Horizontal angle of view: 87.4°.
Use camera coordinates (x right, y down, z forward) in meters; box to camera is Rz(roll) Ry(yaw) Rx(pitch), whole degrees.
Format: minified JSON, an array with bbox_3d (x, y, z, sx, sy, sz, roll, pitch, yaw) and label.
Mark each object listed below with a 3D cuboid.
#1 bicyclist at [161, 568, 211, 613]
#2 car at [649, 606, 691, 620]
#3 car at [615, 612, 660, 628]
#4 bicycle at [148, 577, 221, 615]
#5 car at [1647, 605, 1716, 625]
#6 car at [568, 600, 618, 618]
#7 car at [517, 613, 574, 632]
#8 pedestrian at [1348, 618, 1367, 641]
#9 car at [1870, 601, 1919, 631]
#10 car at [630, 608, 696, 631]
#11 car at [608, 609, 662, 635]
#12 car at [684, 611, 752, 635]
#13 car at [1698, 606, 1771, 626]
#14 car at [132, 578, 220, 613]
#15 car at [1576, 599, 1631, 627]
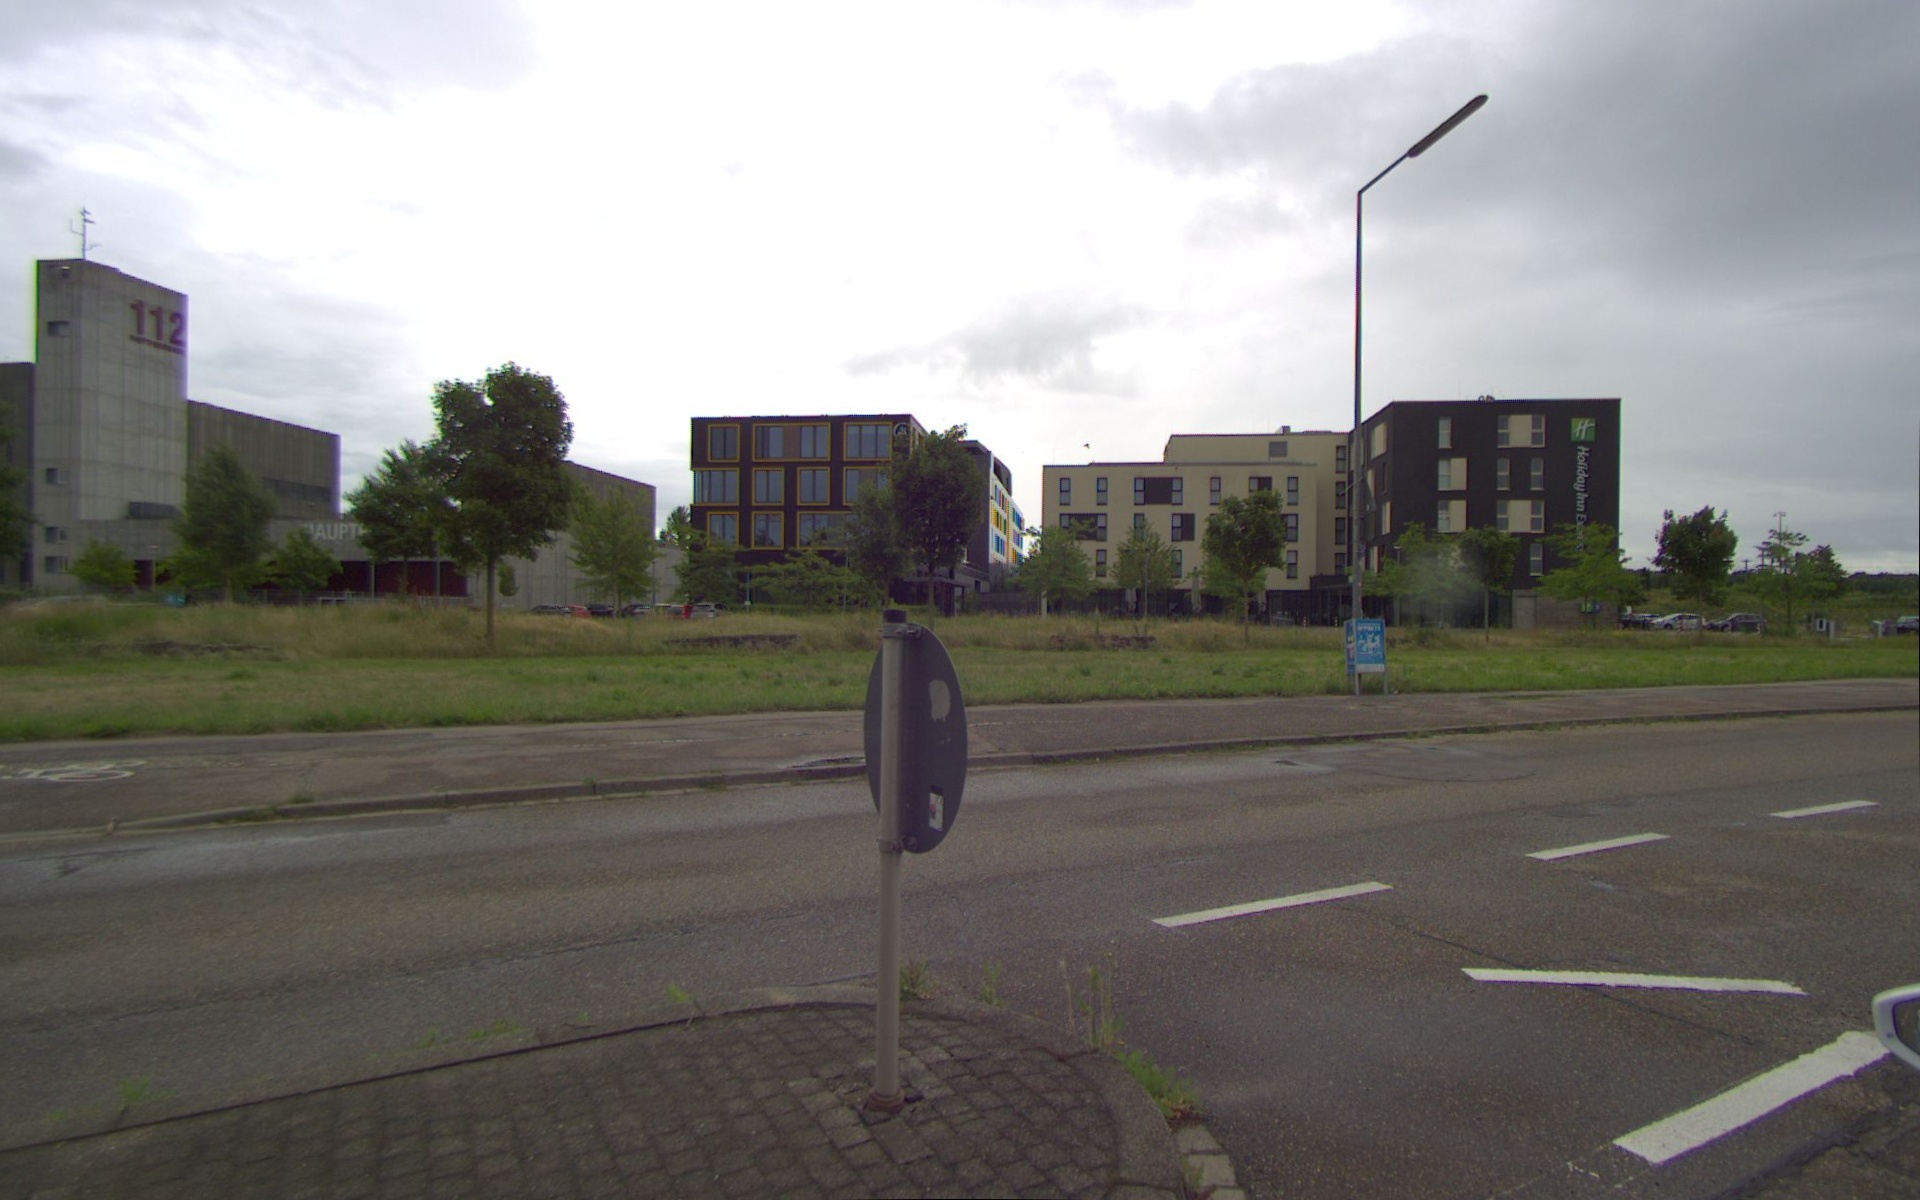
[{"bbox_3d":[-33.780,-0.415,43.851,1.055,1.925,1.403,0,0,5],"label":"bicyclist"},{"bbox_3d":[-31.758,1.438,110.096,3.920,1.544,2.001,-1,-1,2],"label":"car"},{"bbox_3d":[-32.346,1.982,100.819,3.920,1.544,2.001,-1,-1,2],"label":"car"},{"bbox_3d":[-33.798,-0.172,43.838,1.065,1.605,2.501,0,0,6],"label":"bicycle"},{"bbox_3d":[57.814,1.187,80.545,4.072,1.538,2.000,0,0,-1],"label":"car"},{"bbox_3d":[-33.565,0.805,91.869,3.920,1.544,1.811,-1,-1,1],"label":"car"},{"bbox_3d":[-34.682,1.893,84.132,3.920,1.544,2.001,-1,-1,2],"label":"car"},{"bbox_3d":[28.074,2.050,70.951,0.860,1.592,0.952,0,0,-10],"label":"pedestrian"},{"bbox_3d":[66.574,1.095,70.726,1.959,2.040,4.002,0,0,13],"label":"car"},{"bbox_3d":[-20.536,1.350,69.540,3.920,1.544,2.001,-1,-1,2],"label":"car"},{"bbox_3d":[-25.142,1.694,77.855,2.163,1.889,5.100,0,0,5],"label":"car"},{"bbox_3d":[-15.922,1.513,66.283,3.920,1.544,2.001,-1,-1,2],"label":"car"},{"bbox_3d":[56.462,1.157,73.247,3.919,1.461,1.699,0,0,6],"label":"car"},{"bbox_3d":[-46.272,-0.256,59.403,1.960,2.040,4.001,0,0,2],"label":"car"},{"bbox_3d":[71.829,1.390,112.295,2.659,2.996,6.580,0,0,8],"label":"car"}]
